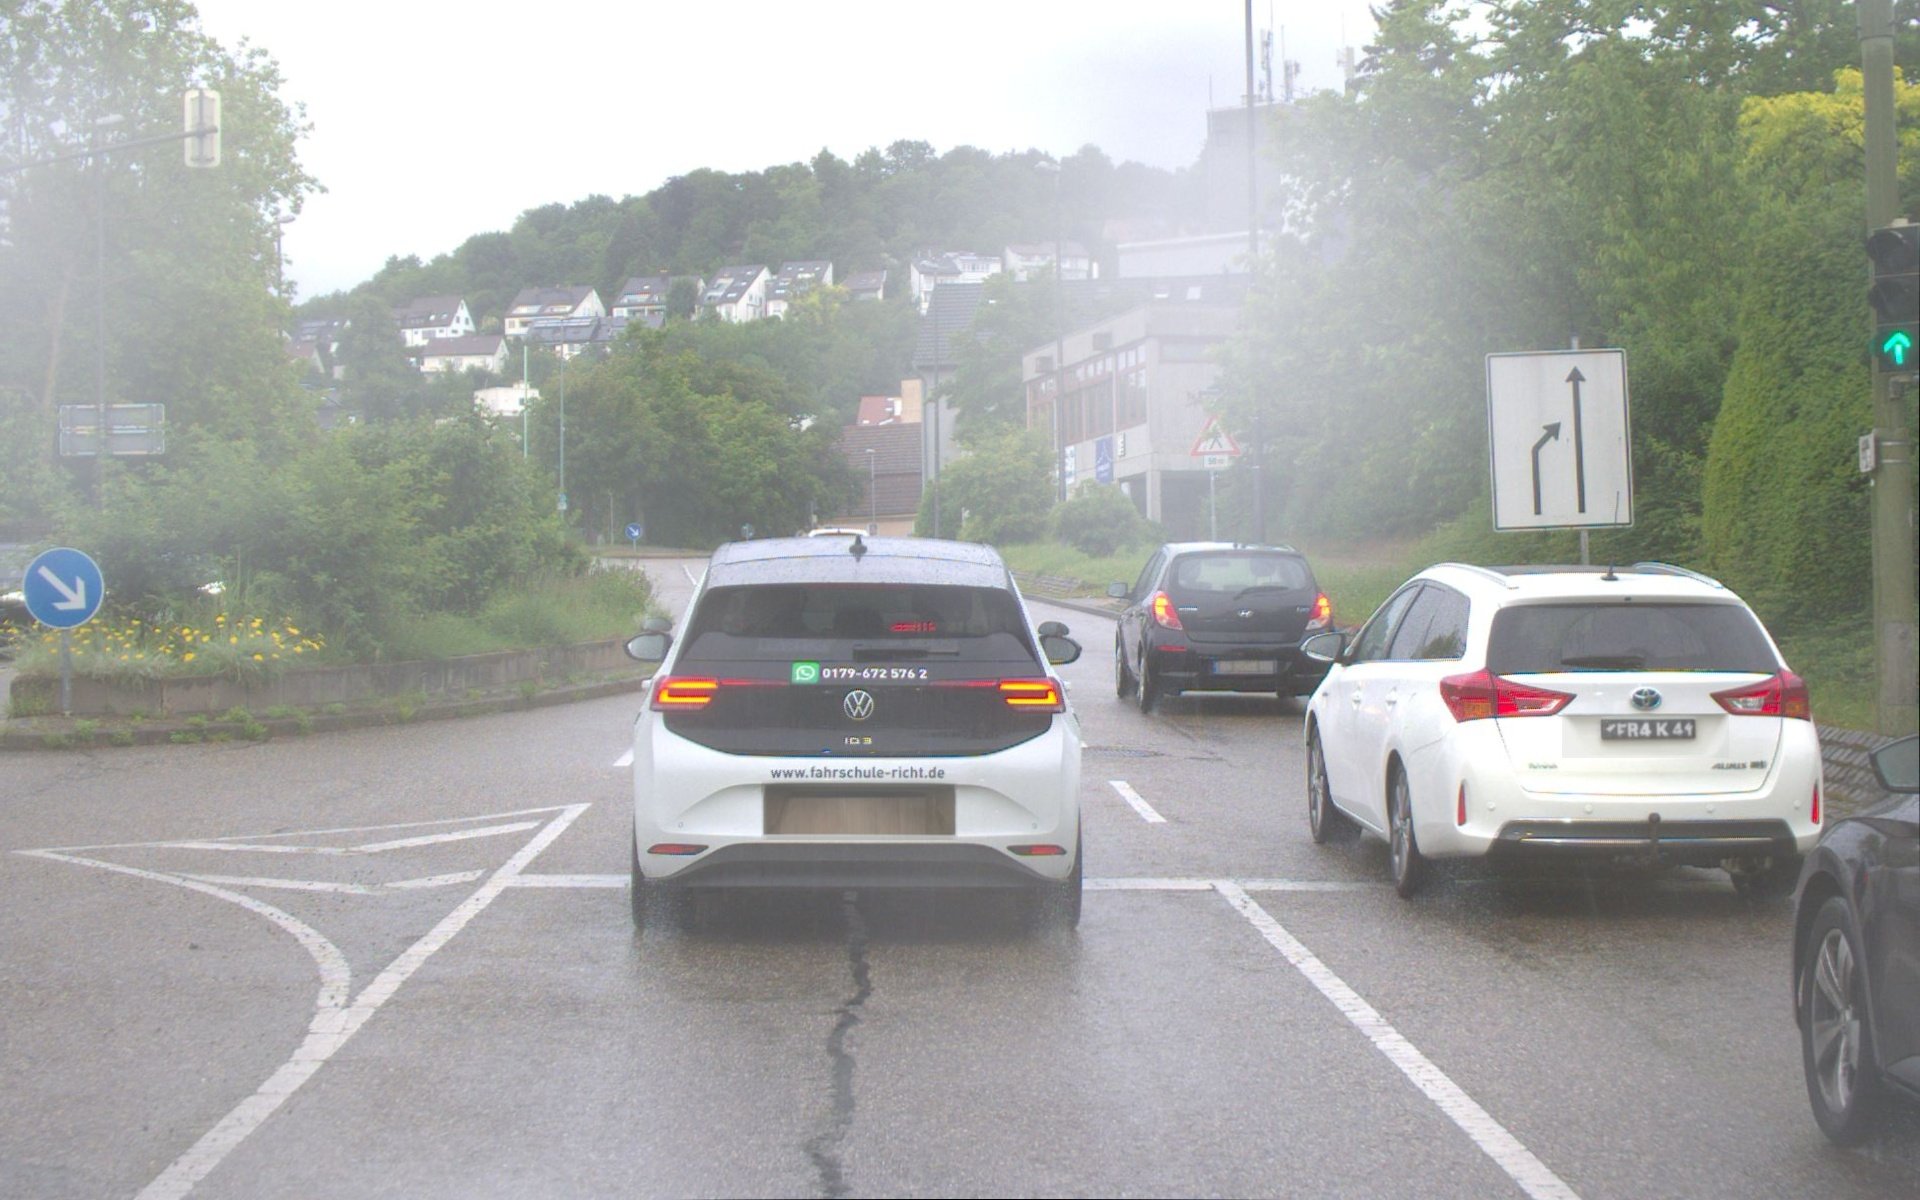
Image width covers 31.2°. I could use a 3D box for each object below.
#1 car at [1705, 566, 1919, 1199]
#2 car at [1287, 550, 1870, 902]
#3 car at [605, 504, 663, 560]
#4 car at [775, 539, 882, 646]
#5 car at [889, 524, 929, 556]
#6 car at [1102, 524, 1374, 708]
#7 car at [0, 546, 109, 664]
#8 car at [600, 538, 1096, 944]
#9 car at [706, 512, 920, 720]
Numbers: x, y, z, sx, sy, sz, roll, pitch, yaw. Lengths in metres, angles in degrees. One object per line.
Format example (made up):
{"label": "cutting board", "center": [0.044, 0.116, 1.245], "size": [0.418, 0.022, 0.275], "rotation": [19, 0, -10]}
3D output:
{"label": "car", "center": [3.027, 0.715, 6.968], "size": [1.954, 1.502, 4.609], "rotation": [2, 0, 0]}
{"label": "car", "center": [2.681, 0.489, 15.914], "size": [1.848, 1.405, 4.302], "rotation": [0, 0, -1]}
{"label": "car", "center": [-12.275, -2.543, 129.616], "size": [1.993, 2.007, 4.000], "rotation": [1, 0, -3]}
{"label": "car", "center": [-2.558, -0.158, 67.585], "size": [1.993, 2.007, 4.000], "rotation": [1, 0, -1]}
{"label": "car", "center": [-2.462, -2.880, 165.520], "size": [1.737, 1.459, 4.000], "rotation": [1, 0, -3]}
{"label": "car", "center": [2.407, 0.118, 30.680], "size": [1.993, 1.448, 3.771], "rotation": [-3, 0, -1]}
{"label": "car", "center": [-12.785, 0.085, 45.591], "size": [1.950, 1.473, 4.296], "rotation": [-3, 0, -1]}
{"label": "car", "center": [-0.455, 0.505, 14.781], "size": [1.828, 1.495, 4.169], "rotation": [0, 0, -1]}
{"label": "car", "center": [-1.206, 0.064, 27.298], "size": [1.567, 1.525, 4.001], "rotation": [0, 1, -4]}
